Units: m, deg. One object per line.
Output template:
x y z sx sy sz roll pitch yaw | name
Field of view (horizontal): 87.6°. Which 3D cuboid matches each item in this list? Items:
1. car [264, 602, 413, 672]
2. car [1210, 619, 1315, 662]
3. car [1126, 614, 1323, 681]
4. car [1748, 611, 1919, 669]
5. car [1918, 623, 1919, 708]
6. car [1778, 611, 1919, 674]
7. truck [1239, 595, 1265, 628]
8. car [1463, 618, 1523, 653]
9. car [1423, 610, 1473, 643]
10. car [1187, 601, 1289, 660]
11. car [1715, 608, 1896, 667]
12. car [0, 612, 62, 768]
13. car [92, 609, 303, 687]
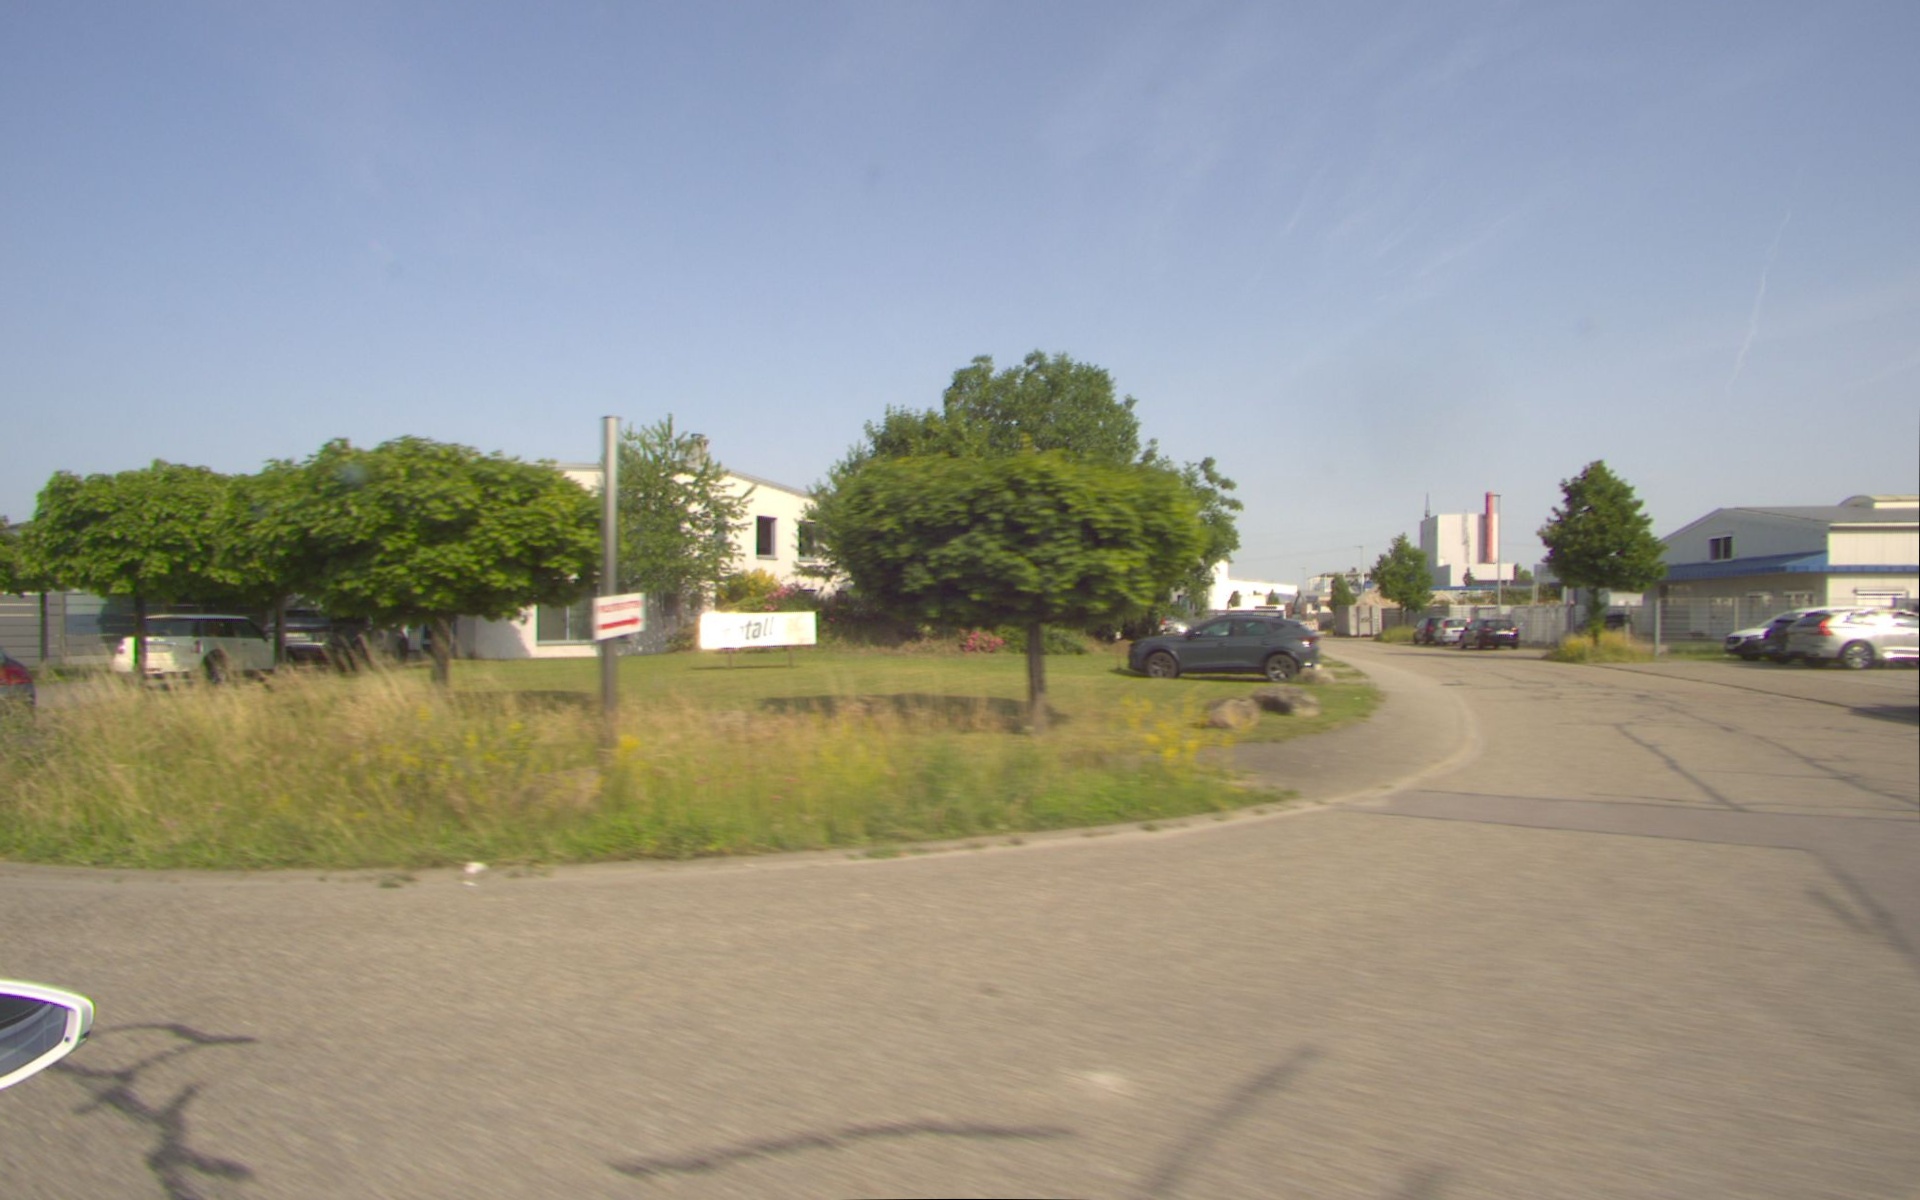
-15.636 0.904 25.473 1.656 1.609 4.531 0 -1 -10 | car
10.664 1.429 35.406 3.454 1.469 1.561 -1 -1 16 | car
6.129 1.049 23.179 4.272 1.428 1.783 0 0 21 | car
26.396 1.157 29.887 4.129 1.654 1.785 0 0 14 | car
15.993 1.059 14.460 1.782 1.427 4.458 -1 -1 25 | car
25.558 1.141 27.516 4.384 1.654 1.785 0 0 14 | car
31.263 1.258 107.374 2.492 3.415 7.668 0 -1 16 | truck
25.198 1.658 47.467 1.801 1.542 3.584 0 0 16 | car
26.308 1.401 54.097 1.965 1.751 3.993 0 0 19 | car
10.862 1.160 39.223 3.639 1.983 1.683 3 2 16 | car
27.289 1.177 32.453 4.129 1.821 1.713 0 0 14 | car
-11.495 0.897 10.732 4.363 1.537 1.790 0 -1 34 | car
-15.151 0.894 20.173 1.655 1.398 3.697 0 0 -5 | car
